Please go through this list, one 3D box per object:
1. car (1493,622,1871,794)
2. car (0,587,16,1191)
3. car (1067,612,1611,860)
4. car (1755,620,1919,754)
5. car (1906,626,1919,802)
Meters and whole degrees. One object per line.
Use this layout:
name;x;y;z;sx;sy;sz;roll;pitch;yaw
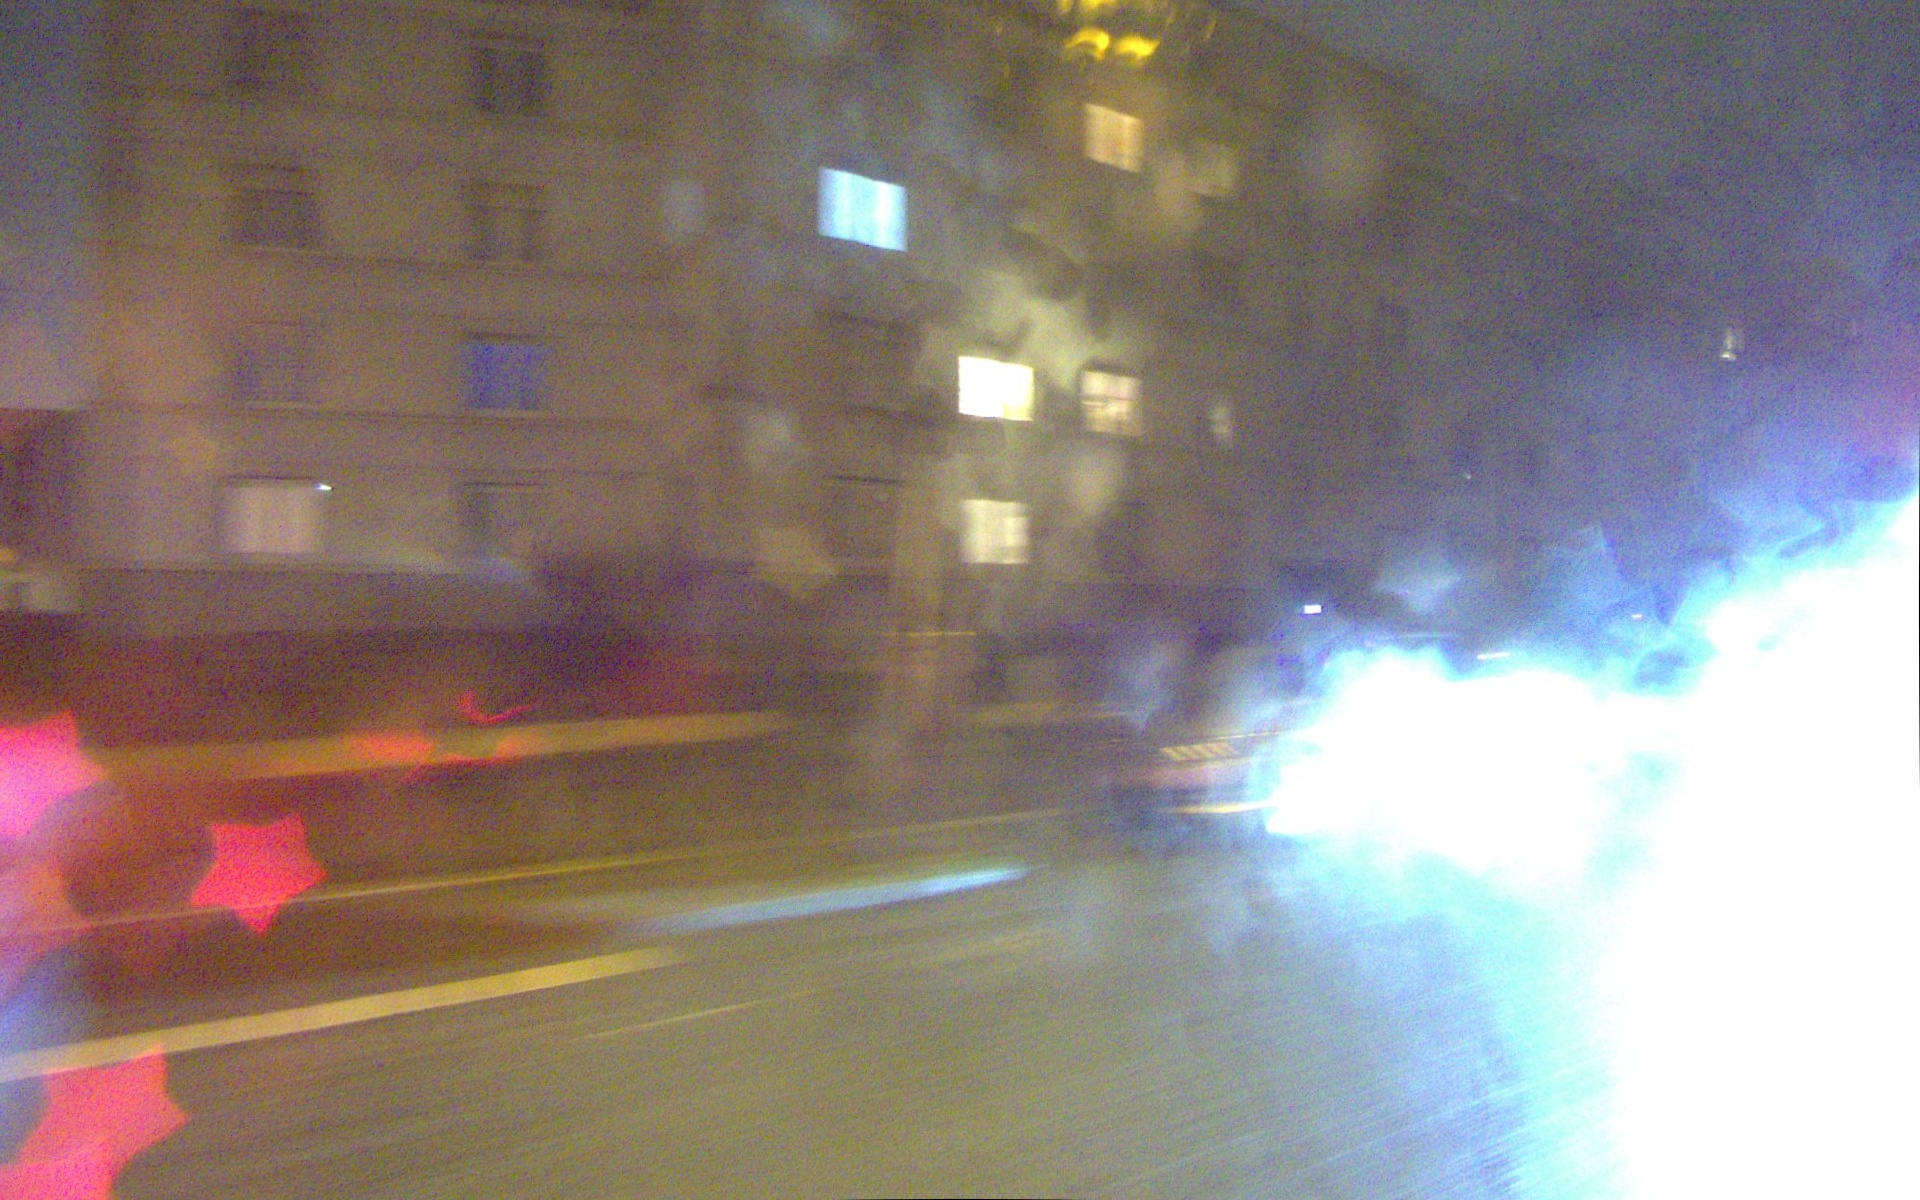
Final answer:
car;7.859;1.055;10.860;4.247;1.556;1.606;1;-4;-29
car;-3.865;0.668;0.640;4.459;1.453;1.668;0;-1;-31
car;3.134;0.887;7.918;4.593;1.476;1.569;1;-3;-33
car;12.929;1.146;13.837;4.402;1.591;1.605;1;-6;-32
car;10.431;0.988;8.959;4.473;1.480;1.847;1;-1;-32
